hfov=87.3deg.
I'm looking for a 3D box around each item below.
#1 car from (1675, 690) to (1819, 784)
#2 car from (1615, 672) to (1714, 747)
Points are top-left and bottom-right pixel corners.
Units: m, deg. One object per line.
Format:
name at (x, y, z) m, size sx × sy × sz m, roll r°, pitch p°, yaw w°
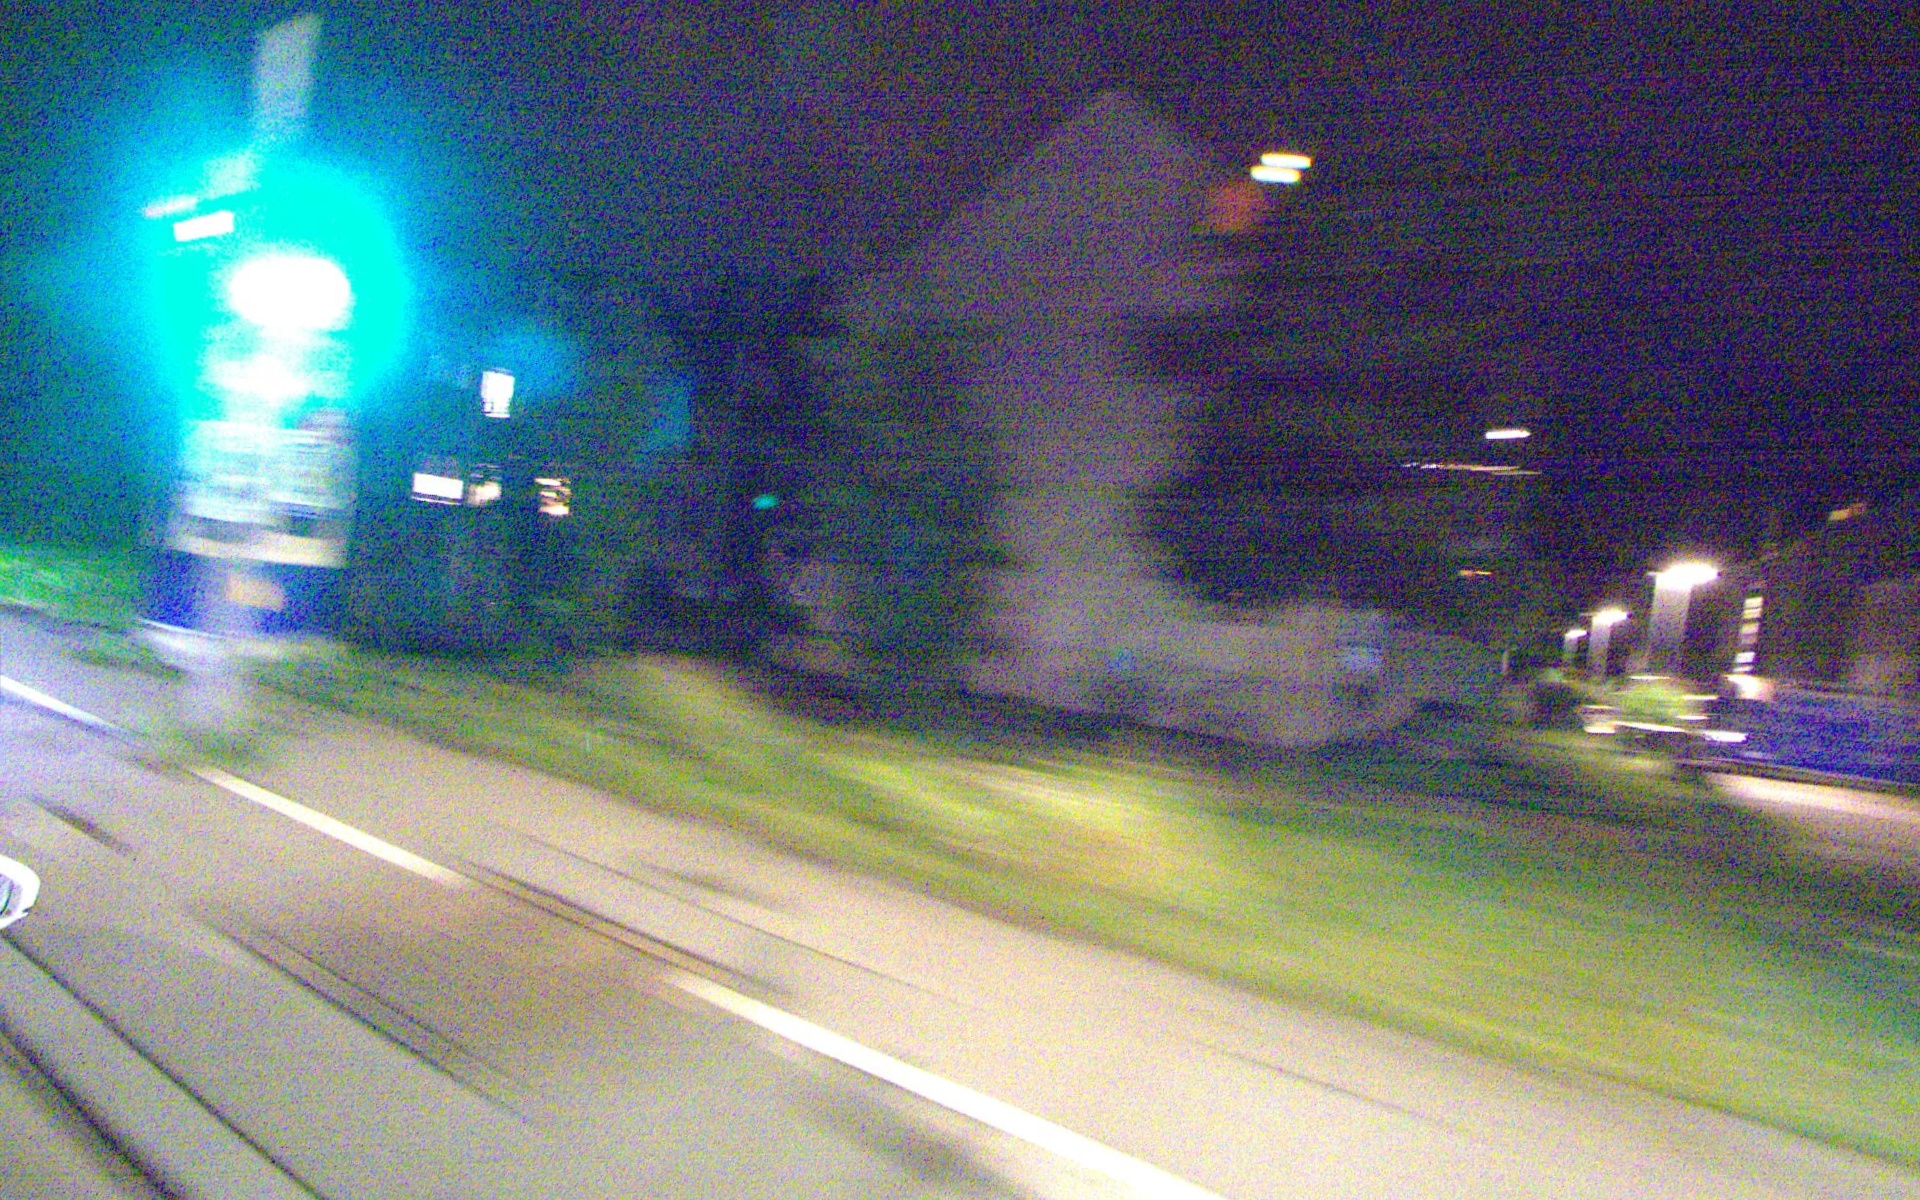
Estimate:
car at (17.987, 3.057, 23.204) m, size 1.967 × 1.594 × 3.991 m, roll 8°, pitch 1°, yaw 31°
car at (21.985, 3.366, 31.552) m, size 1.966 × 1.905 × 3.993 m, roll 8°, pitch 0°, yaw 30°
